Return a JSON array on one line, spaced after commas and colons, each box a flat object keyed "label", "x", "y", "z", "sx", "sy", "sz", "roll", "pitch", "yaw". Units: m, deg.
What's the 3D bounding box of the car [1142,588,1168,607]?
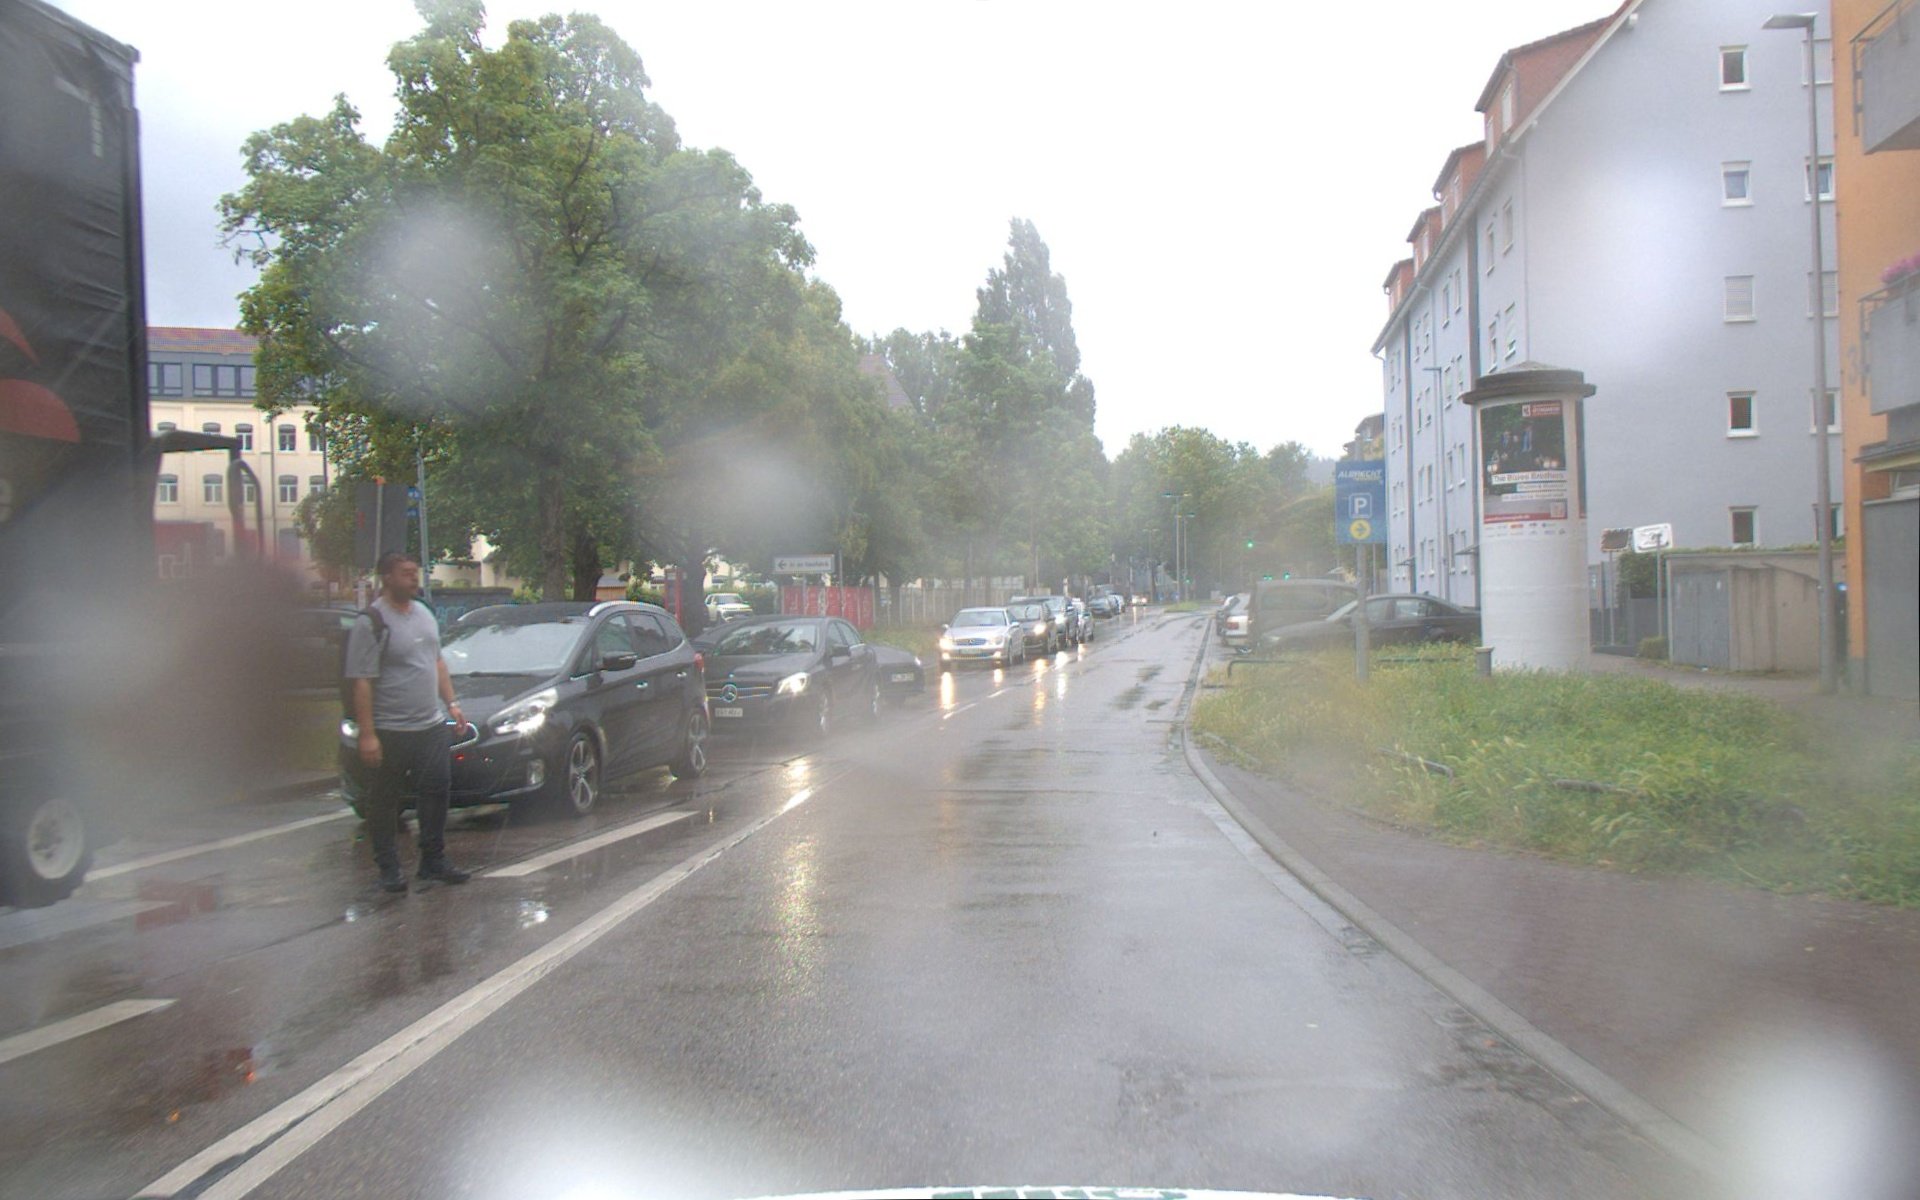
[{"label": "car", "x": 22.701, "y": -0.281, "z": 192.561, "sx": 1.957, "sy": 2.049, "sz": 3.990, "roll": -1, "pitch": 0, "yaw": -10}]

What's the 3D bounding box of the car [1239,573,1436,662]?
[{"label": "car", "x": 8.585, "y": 0.404, "z": 37.921, "sx": 4.142, "sy": 1.836, "sz": 1.946, "roll": -2, "pitch": -1, "yaw": 6}]

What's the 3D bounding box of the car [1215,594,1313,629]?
[{"label": "car", "x": 13.650, "y": 0.528, "z": 74.178, "sx": 4.178, "sy": 1.479, "sz": 1.986, "roll": -1, "pitch": 1, "yaw": 14}]

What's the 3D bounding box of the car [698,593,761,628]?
[{"label": "car", "x": -10.975, "y": 0.518, "z": 78.583, "sx": 1.822, "sy": 1.600, "sz": 3.966, "roll": 0, "pitch": -1, "yaw": -26}]

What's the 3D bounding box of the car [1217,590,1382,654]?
[{"label": "car", "x": 8.791, "y": 0.579, "z": 43.121, "sx": 4.092, "sy": 1.599, "sz": 1.892, "roll": -1, "pitch": 0, "yaw": 8}]

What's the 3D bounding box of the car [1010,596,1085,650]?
[{"label": "car", "x": 2.927, "y": 0.729, "z": 54.316, "sx": 1.873, "sy": 1.668, "sz": 4.826, "roll": -1, "pitch": 0, "yaw": 10}]

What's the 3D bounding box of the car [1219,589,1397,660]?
[{"label": "car", "x": 8.465, "y": 0.589, "z": 40.525, "sx": 4.100, "sy": 1.596, "sz": 1.890, "roll": -1, "pitch": 0, "yaw": 7}]

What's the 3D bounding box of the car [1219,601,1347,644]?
[{"label": "car", "x": 9.883, "y": 0.679, "z": 50.708, "sx": 3.771, "sy": 1.229, "sz": 1.957, "roll": -1, "pitch": 0, "yaw": 11}]

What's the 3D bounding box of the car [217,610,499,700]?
[{"label": "car", "x": -9.984, "y": 0.879, "z": 27.601, "sx": 4.265, "sy": 1.419, "sz": 2.000, "roll": 0, "pitch": -1, "yaw": -22}]

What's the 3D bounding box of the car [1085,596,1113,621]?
[{"label": "car", "x": 9.358, "y": 0.553, "z": 111.529, "sx": 1.738, "sy": 1.556, "sz": 4.002, "roll": 0, "pitch": 2, "yaw": 2}]

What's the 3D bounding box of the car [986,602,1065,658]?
[{"label": "car", "x": 1.926, "y": 0.829, "z": 47.539, "sx": 1.741, "sy": 1.445, "sz": 4.269, "roll": -2, "pitch": 0, "yaw": 9}]

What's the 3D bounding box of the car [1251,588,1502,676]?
[{"label": "car", "x": 7.839, "y": 0.605, "z": 31.506, "sx": 4.436, "sy": 1.496, "sz": 1.985, "roll": -2, "pitch": -1, "yaw": 9}]

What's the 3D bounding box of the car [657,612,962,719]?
[{"label": "car", "x": -2.467, "y": 1.002, "z": 26.284, "sx": 4.839, "sy": 1.479, "sz": 2.074, "roll": -2, "pitch": 0, "yaw": 42}]

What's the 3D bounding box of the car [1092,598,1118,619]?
[{"label": "car", "x": 11.066, "y": 0.637, "z": 126.258, "sx": 1.888, "sy": 1.510, "sz": 4.003, "roll": -2, "pitch": 0, "yaw": 6}]

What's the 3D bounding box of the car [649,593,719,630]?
[{"label": "car", "x": -12.947, "y": 0.547, "z": 77.468, "sx": 1.972, "sy": 1.585, "sz": 3.960, "roll": -1, "pitch": -1, "yaw": -29}]

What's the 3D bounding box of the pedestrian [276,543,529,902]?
[{"label": "pedestrian", "x": -3.107, "y": 0.644, "z": 9.253, "sx": 0.969, "sy": 1.876, "sz": 0.870, "roll": -2, "pitch": 0, "yaw": 27}]

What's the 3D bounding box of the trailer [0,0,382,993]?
[{"label": "trailer", "x": -6.001, "y": -0.523, "z": 1.694, "sx": 3.369, "sy": 4.119, "sz": 15.063, "roll": -2, "pitch": 0, "yaw": 9}]

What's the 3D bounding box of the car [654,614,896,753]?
[{"label": "car", "x": -2.111, "y": 0.936, "z": 20.133, "sx": 1.689, "sy": 1.385, "sz": 4.341, "roll": -2, "pitch": 0, "yaw": 11}]

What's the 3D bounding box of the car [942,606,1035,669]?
[{"label": "car", "x": 0.756, "y": 0.864, "z": 40.411, "sx": 1.737, "sy": 1.428, "sz": 4.834, "roll": -1, "pitch": 0, "yaw": 7}]

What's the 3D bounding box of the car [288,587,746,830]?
[{"label": "car", "x": -3.406, "y": 0.824, "z": 13.844, "sx": 1.827, "sy": 1.648, "sz": 4.806, "roll": -2, "pitch": -2, "yaw": 10}]

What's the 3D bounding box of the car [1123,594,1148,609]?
[{"label": "car", "x": 20.348, "y": 0.183, "z": 191.740, "sx": 1.710, "sy": 1.718, "sz": 3.988, "roll": 0, "pitch": 0, "yaw": -12}]
